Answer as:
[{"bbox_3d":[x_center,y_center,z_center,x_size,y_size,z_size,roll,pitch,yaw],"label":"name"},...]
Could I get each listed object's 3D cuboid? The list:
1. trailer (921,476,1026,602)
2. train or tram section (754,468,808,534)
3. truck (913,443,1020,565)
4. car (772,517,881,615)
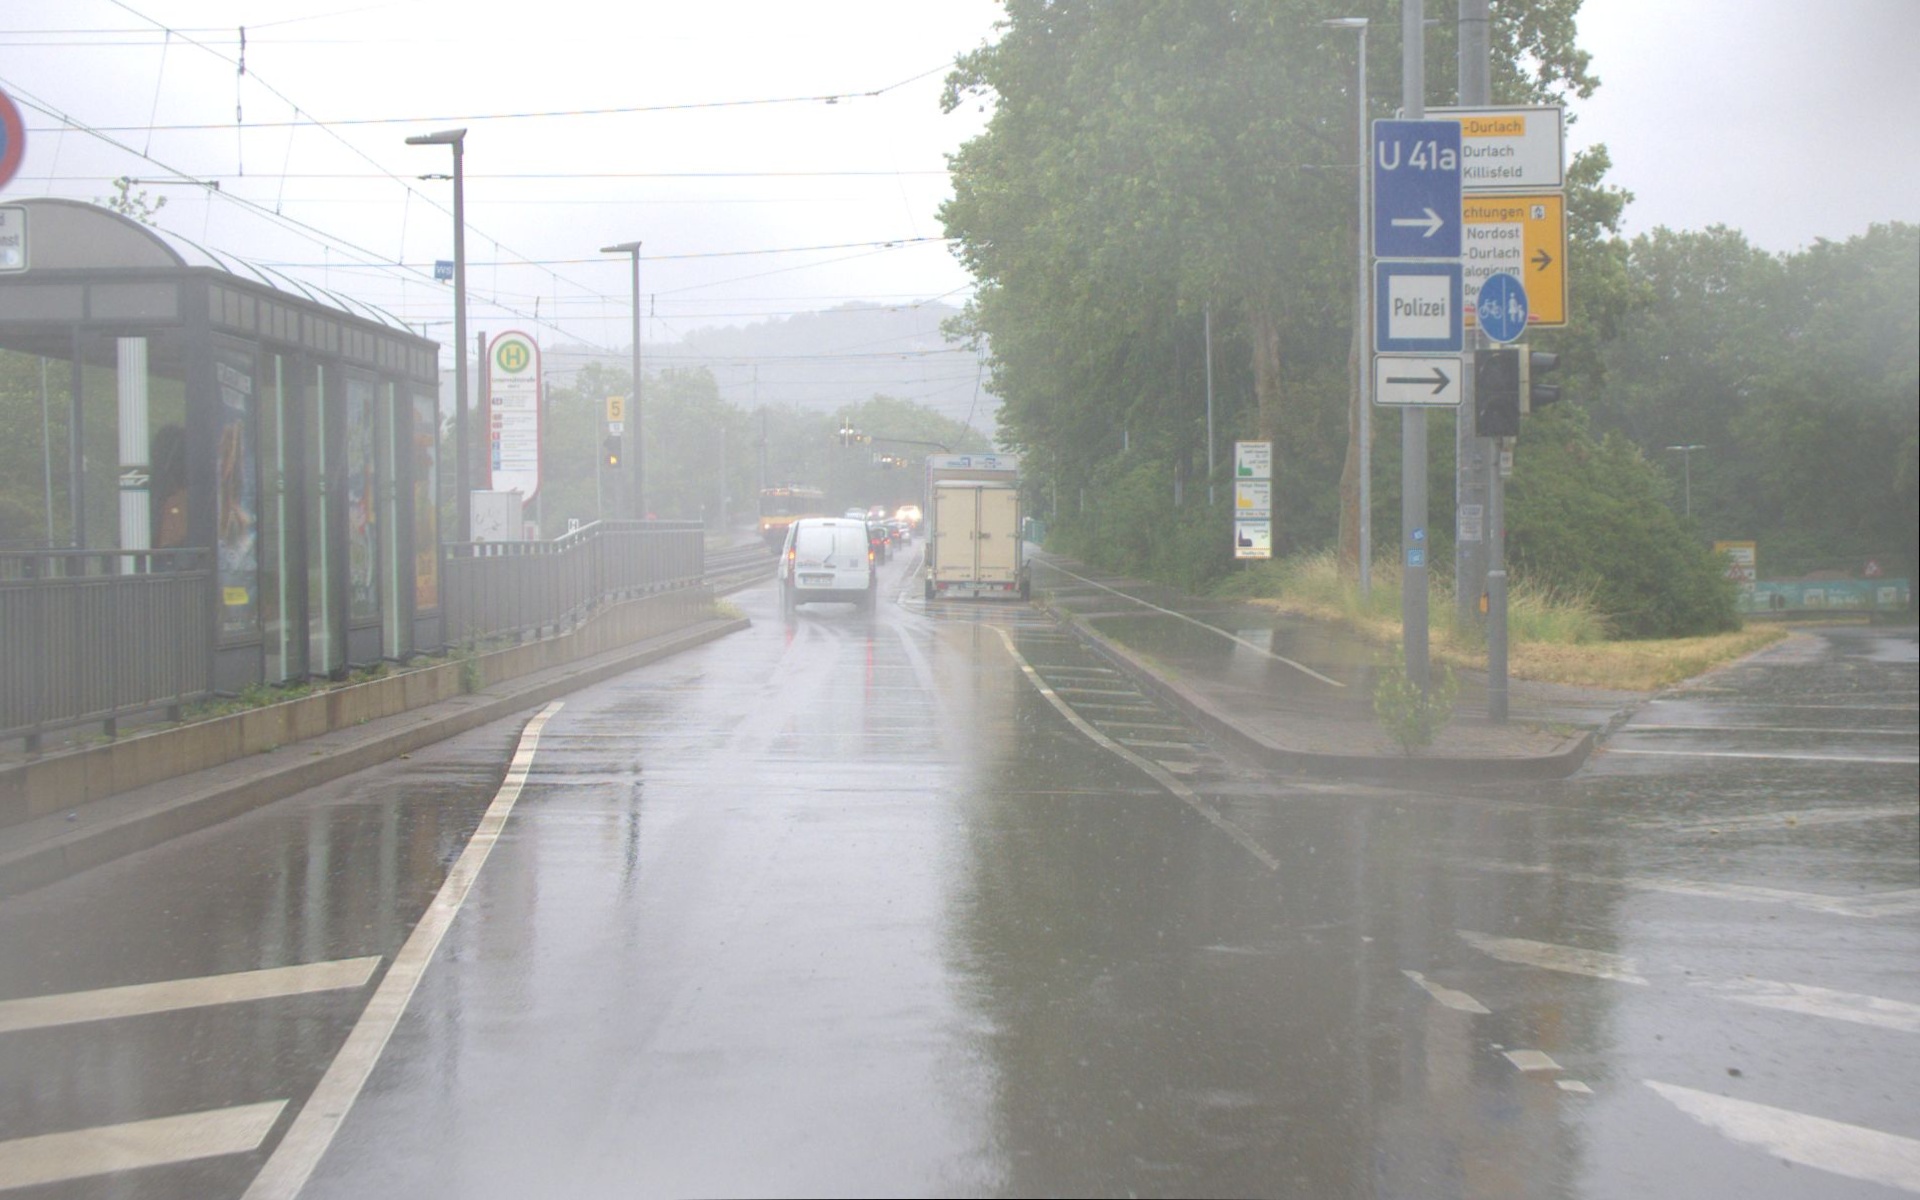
[{"bbox_3d":[0.351,-1.363,78.101,2.166,2.748,5.676,0,0,2],"label":"trailer"},{"bbox_3d":[-11.546,-6.346,222.410,2.806,4.135,13.020,0,1,0],"label":"train or tram section"},{"bbox_3d":[0.137,-2.968,109.239,2.775,3.691,9.854,0,0,-3],"label":"truck"},{"bbox_3d":[-2.614,-0.675,66.383,1.993,1.842,4.001,0,1,-4],"label":"car"}]
